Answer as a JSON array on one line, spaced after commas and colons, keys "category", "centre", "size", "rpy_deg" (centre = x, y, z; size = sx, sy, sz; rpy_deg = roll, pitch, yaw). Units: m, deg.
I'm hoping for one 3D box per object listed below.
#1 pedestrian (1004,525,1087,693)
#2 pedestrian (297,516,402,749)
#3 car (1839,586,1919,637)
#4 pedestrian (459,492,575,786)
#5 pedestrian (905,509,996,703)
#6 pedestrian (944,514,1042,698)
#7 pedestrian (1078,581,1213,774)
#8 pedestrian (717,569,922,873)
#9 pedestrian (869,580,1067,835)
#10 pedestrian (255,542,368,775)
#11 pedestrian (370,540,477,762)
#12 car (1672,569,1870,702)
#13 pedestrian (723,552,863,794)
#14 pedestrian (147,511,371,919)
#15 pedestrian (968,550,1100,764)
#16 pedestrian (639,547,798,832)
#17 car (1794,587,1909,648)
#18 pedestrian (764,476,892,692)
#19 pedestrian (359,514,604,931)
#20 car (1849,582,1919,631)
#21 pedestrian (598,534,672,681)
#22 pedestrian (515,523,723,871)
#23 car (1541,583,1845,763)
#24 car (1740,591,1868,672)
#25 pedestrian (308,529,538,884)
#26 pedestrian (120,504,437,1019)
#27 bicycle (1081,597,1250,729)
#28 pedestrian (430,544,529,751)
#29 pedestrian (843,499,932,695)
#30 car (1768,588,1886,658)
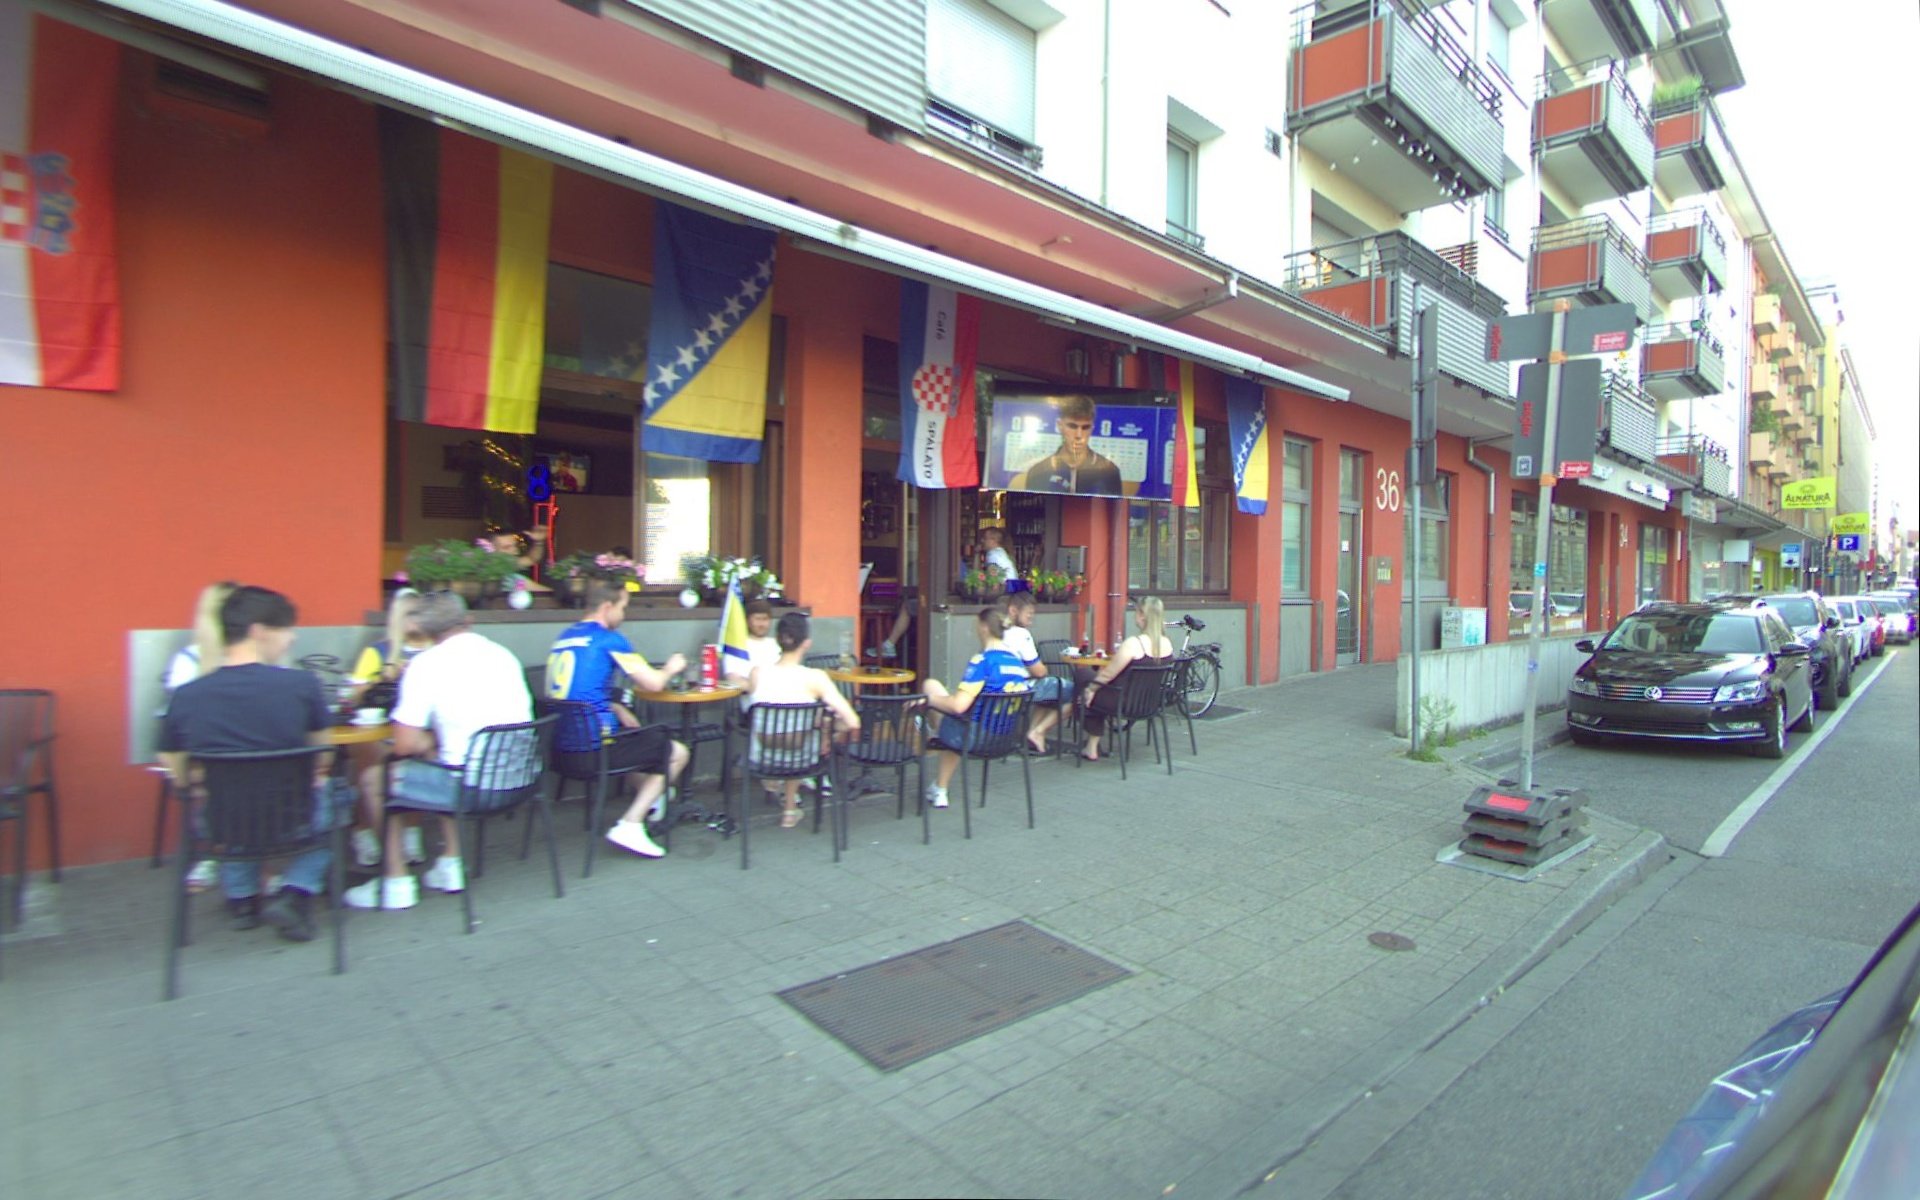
[{"category": "pedestrian", "centre": [1.077, 0.100, 12.757], "size": [0.799, 2.039, 0.670], "rpy_deg": [0, 0, -35]}, {"category": "pedestrian", "centre": [-5.658, 0.277, 9.376], "size": [0.812, 2.039, 0.659], "rpy_deg": [1, 0, 45]}, {"category": "car", "centre": [29.128, 0.330, 31.750], "size": [4.228, 1.496, 1.894], "rpy_deg": [0, 0, -43]}, {"category": "pedestrian", "centre": [-2.879, 0.233, 6.574], "size": [0.536, 1.799, 0.513], "rpy_deg": [1, 0, 42]}, {"category": "pedestrian", "centre": [-0.089, 0.047, 9.585], "size": [0.610, 1.760, 0.608], "rpy_deg": [1, 0, 44]}, {"category": "pedestrian", "centre": [0.327, 0.045, 10.069], "size": [0.716, 1.742, 0.658], "rpy_deg": [1, 0, 44]}, {"category": "pedestrian", "centre": [1.383, 0.529, 7.505], "size": [0.843, 1.293, 0.709], "rpy_deg": [2, 4, 23]}, {"category": "pedestrian", "centre": [-0.703, 0.543, 5.083], "size": [0.653, 1.361, 0.738], "rpy_deg": [4, 3, 42]}, {"category": "pedestrian", "centre": [0.023, 0.561, 5.907], "size": [0.835, 1.321, 0.880], "rpy_deg": [0, 2, -25]}, {"category": "pedestrian", "centre": [-5.272, 0.444, 8.233], "size": [0.609, 1.799, 0.609], "rpy_deg": [1, 0, 37]}, {"category": "pedestrian", "centre": [-4.564, 0.407, 8.613], "size": [0.609, 1.799, 0.609], "rpy_deg": [1, 0, 37]}, {"category": "car", "centre": [12.286, 0.453, 15.234], "size": [4.070, 1.721, 1.880], "rpy_deg": [0, 0, -45]}, {"category": "pedestrian", "centre": [-1.075, 0.431, 6.497], "size": [0.712, 1.439, 0.592], "rpy_deg": [0, 0, 45]}, {"category": "pedestrian", "centre": [-2.992, 0.420, 4.316], "size": [0.674, 1.554, 0.644], "rpy_deg": [4, 3, 43]}, {"category": "pedestrian", "centre": [0.584, 0.414, 7.875], "size": [0.843, 1.555, 0.709], "rpy_deg": [0, 0, 23]}, {"category": "pedestrian", "centre": [-1.344, 0.448, 5.615], "size": [0.665, 1.451, 0.552], "rpy_deg": [4, 2, 43]}, {"category": "car", "centre": [23.541, 0.411, 26.672], "size": [4.320, 1.496, 1.864], "rpy_deg": [0, 0, -43]}, {"category": "pedestrian", "centre": [-1.366, -0.159, 10.274], "size": [1.126, 2.039, 1.155], "rpy_deg": [0, 0, -16]}, {"category": "pedestrian", "centre": [-2.007, 0.444, 4.248], "size": [0.648, 1.545, 0.690], "rpy_deg": [6, 4, 41]}, {"category": "car", "centre": [33.105, 0.195, 35.742], "size": [4.290, 1.637, 1.997], "rpy_deg": [0, 0, -41]}, {"category": "pedestrian", "centre": [-4.179, 0.089, 13.017], "size": [0.746, 1.816, 0.650], "rpy_deg": [0, 0, -35]}, {"category": "pedestrian", "centre": [-1.714, 0.432, 5.072], "size": [0.850, 1.555, 0.669], "rpy_deg": [0, 0, 42]}, {"category": "car", "centre": [8.173, 0.627, 11.105], "size": [4.553, 1.571, 1.876], "rpy_deg": [0, 0, -43]}, {"category": "car", "centre": [16.650, 0.542, 19.906], "size": [1.747, 1.421, 3.906], "rpy_deg": [0, 0, 43]}, {"category": "pedestrian", "centre": [-2.591, 0.447, 4.886], "size": [0.767, 1.523, 0.771], "rpy_deg": [1, 1, 43]}, {"category": "pedestrian", "centre": [-2.409, 0.473, 3.578], "size": [0.712, 1.554, 0.748], "rpy_deg": [6, 4, 41]}, {"category": "bicycle", "centre": [1.953, 0.531, 9.400], "size": [0.549, 1.101, 1.973], "rpy_deg": [-1, 0, 45]}, {"category": "pedestrian", "centre": [-4.364, 0.405, 9.202], "size": [0.609, 1.799, 0.609], "rpy_deg": [1, 0, 37]}, {"category": "pedestrian", "centre": [-0.695, -0.037, 9.715], "size": [0.610, 1.799, 0.608], "rpy_deg": [1, 0, 42]}, {"category": "car", "centre": [20.347, 0.485, 23.705], "size": [3.883, 1.496, 1.764], "rpy_deg": [0, 0, -44]}]
